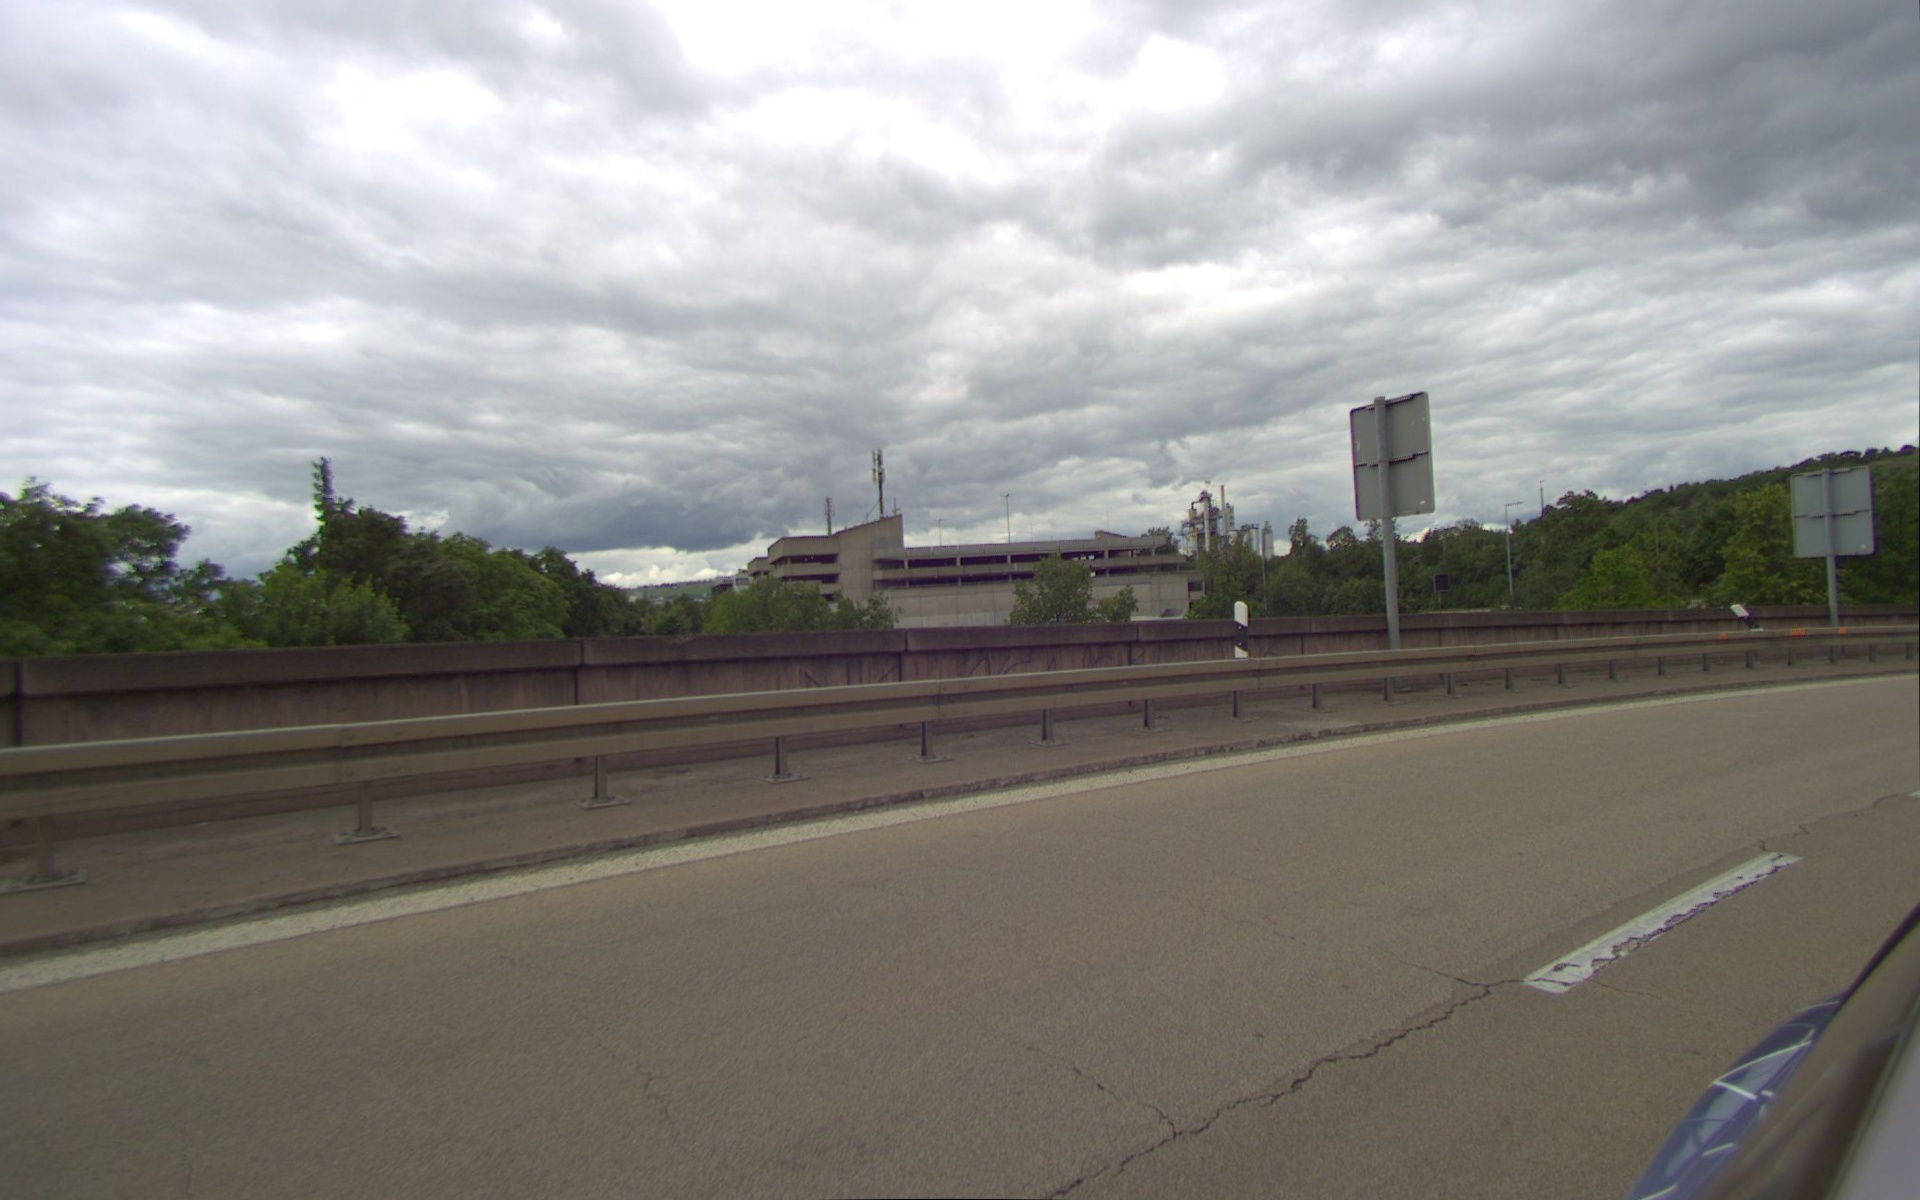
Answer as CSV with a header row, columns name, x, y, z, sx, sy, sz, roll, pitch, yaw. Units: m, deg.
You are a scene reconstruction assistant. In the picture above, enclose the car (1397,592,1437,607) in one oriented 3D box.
name,x,y,z,sx,sy,sz,roll,pitch,yaw
car,64.915,-0.077,143.910,2.090,1.778,5.501,-5,-1,-13
